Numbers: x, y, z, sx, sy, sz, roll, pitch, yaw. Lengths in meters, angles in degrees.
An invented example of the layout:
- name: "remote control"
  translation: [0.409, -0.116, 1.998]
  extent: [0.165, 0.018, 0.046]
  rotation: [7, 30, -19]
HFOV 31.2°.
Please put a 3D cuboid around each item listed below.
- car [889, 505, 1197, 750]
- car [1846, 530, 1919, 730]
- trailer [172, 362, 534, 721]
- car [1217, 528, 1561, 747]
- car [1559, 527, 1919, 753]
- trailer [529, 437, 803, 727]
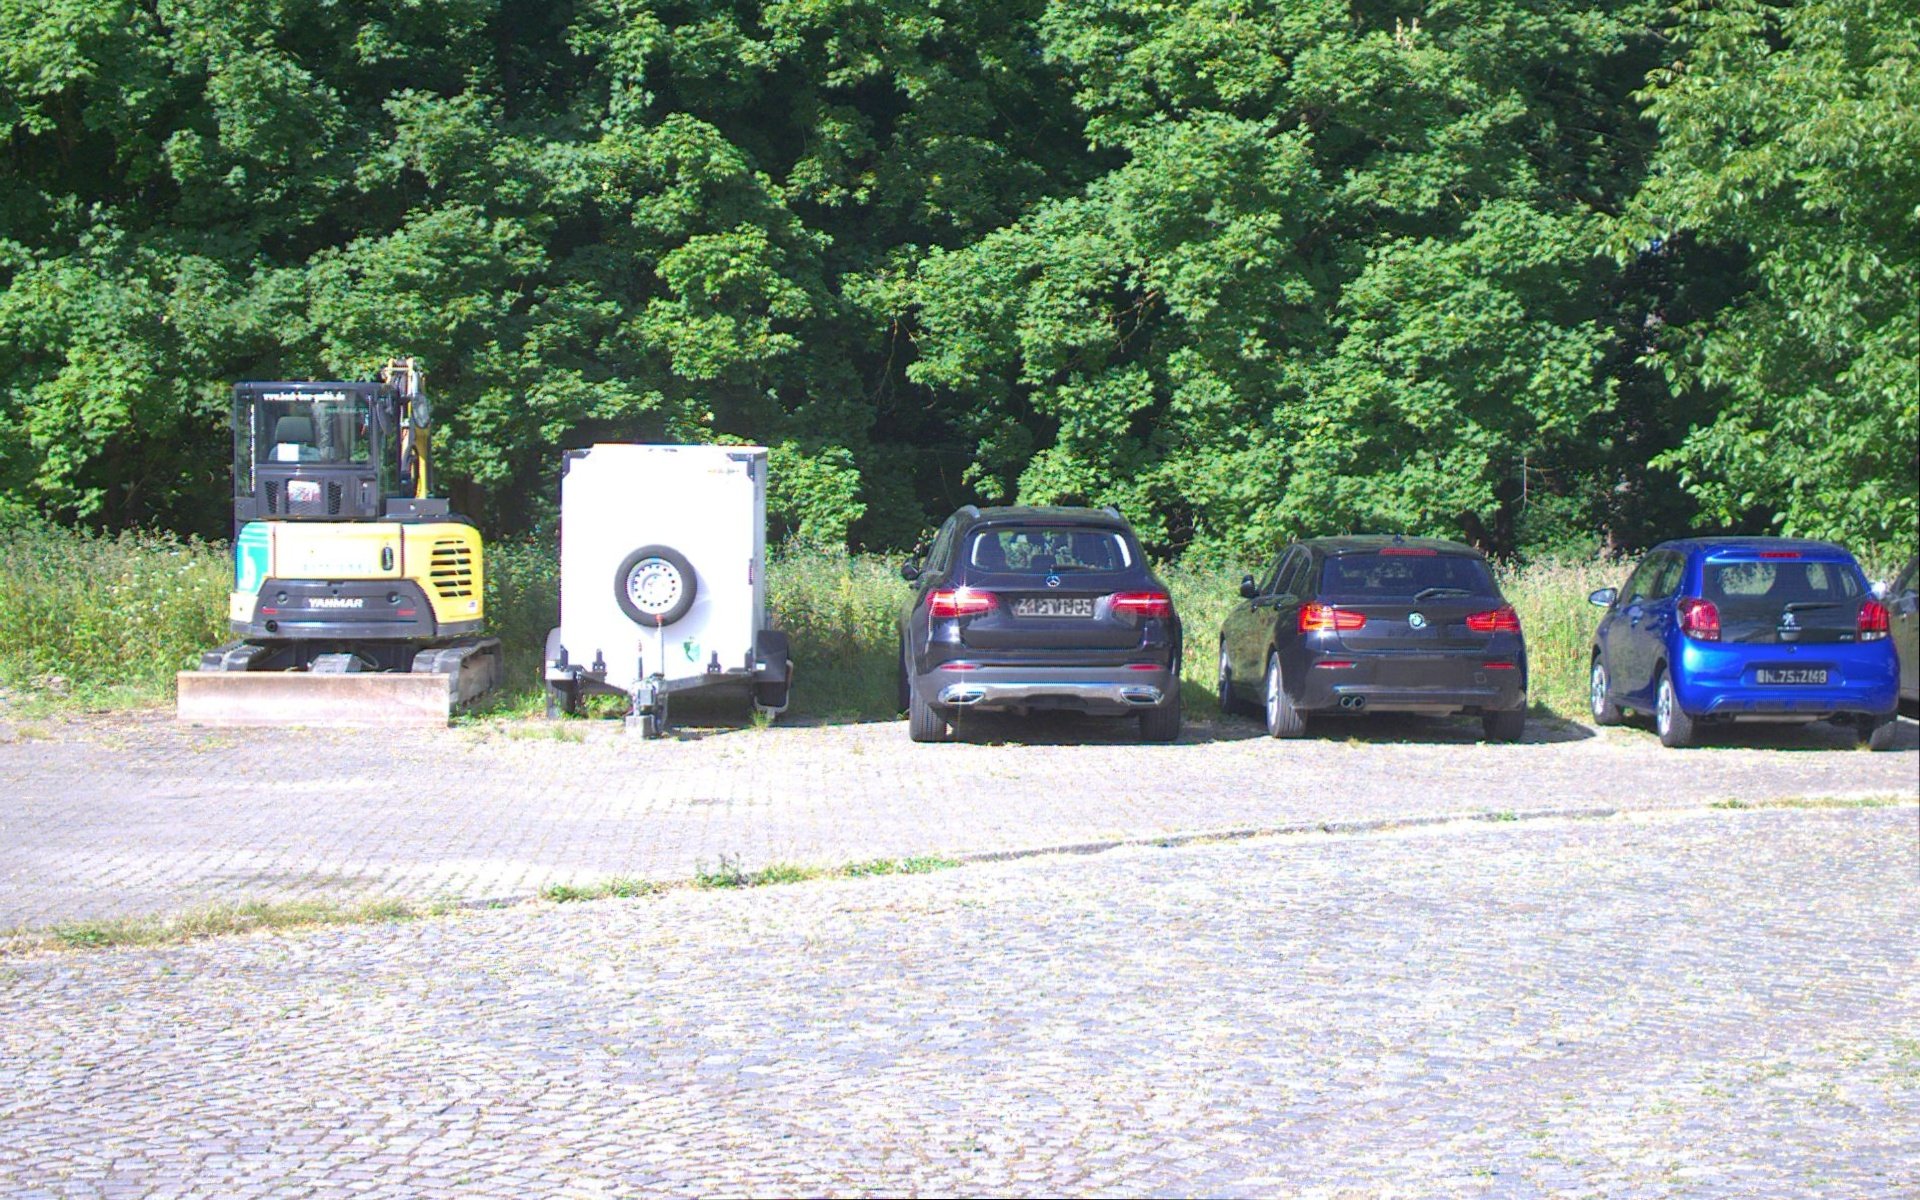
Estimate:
- name: "car"
  translation: [0.509, 0.128, 24.939]
  extent: [1.964, 1.584, 4.132]
  rotation: [1, 2, -2]
- name: "car"
  translation: [8.083, 0.227, 26.445]
  extent: [1.739, 1.446, 3.725]
  rotation: [1, 2, 3]
- name: "trailer"
  translation: [-4.530, -0.513, 26.074]
  extent: [2.258, 2.529, 2.851]
  rotation: [1, 4, -1]
- name: "car"
  translation: [3.047, 0.215, 25.147]
  extent: [1.889, 1.406, 3.790]
  rotation: [1, 2, -2]
- name: "car"
  translation: [5.674, 0.234, 25.298]
  extent: [1.780, 1.453, 3.790]
  rotation: [1, 2, -1]
- name: "trailer"
  translation: [-2.159, -0.174, 25.907]
  extent: [1.818, 2.043, 2.850]
  rotation: [1, 2, -1]
